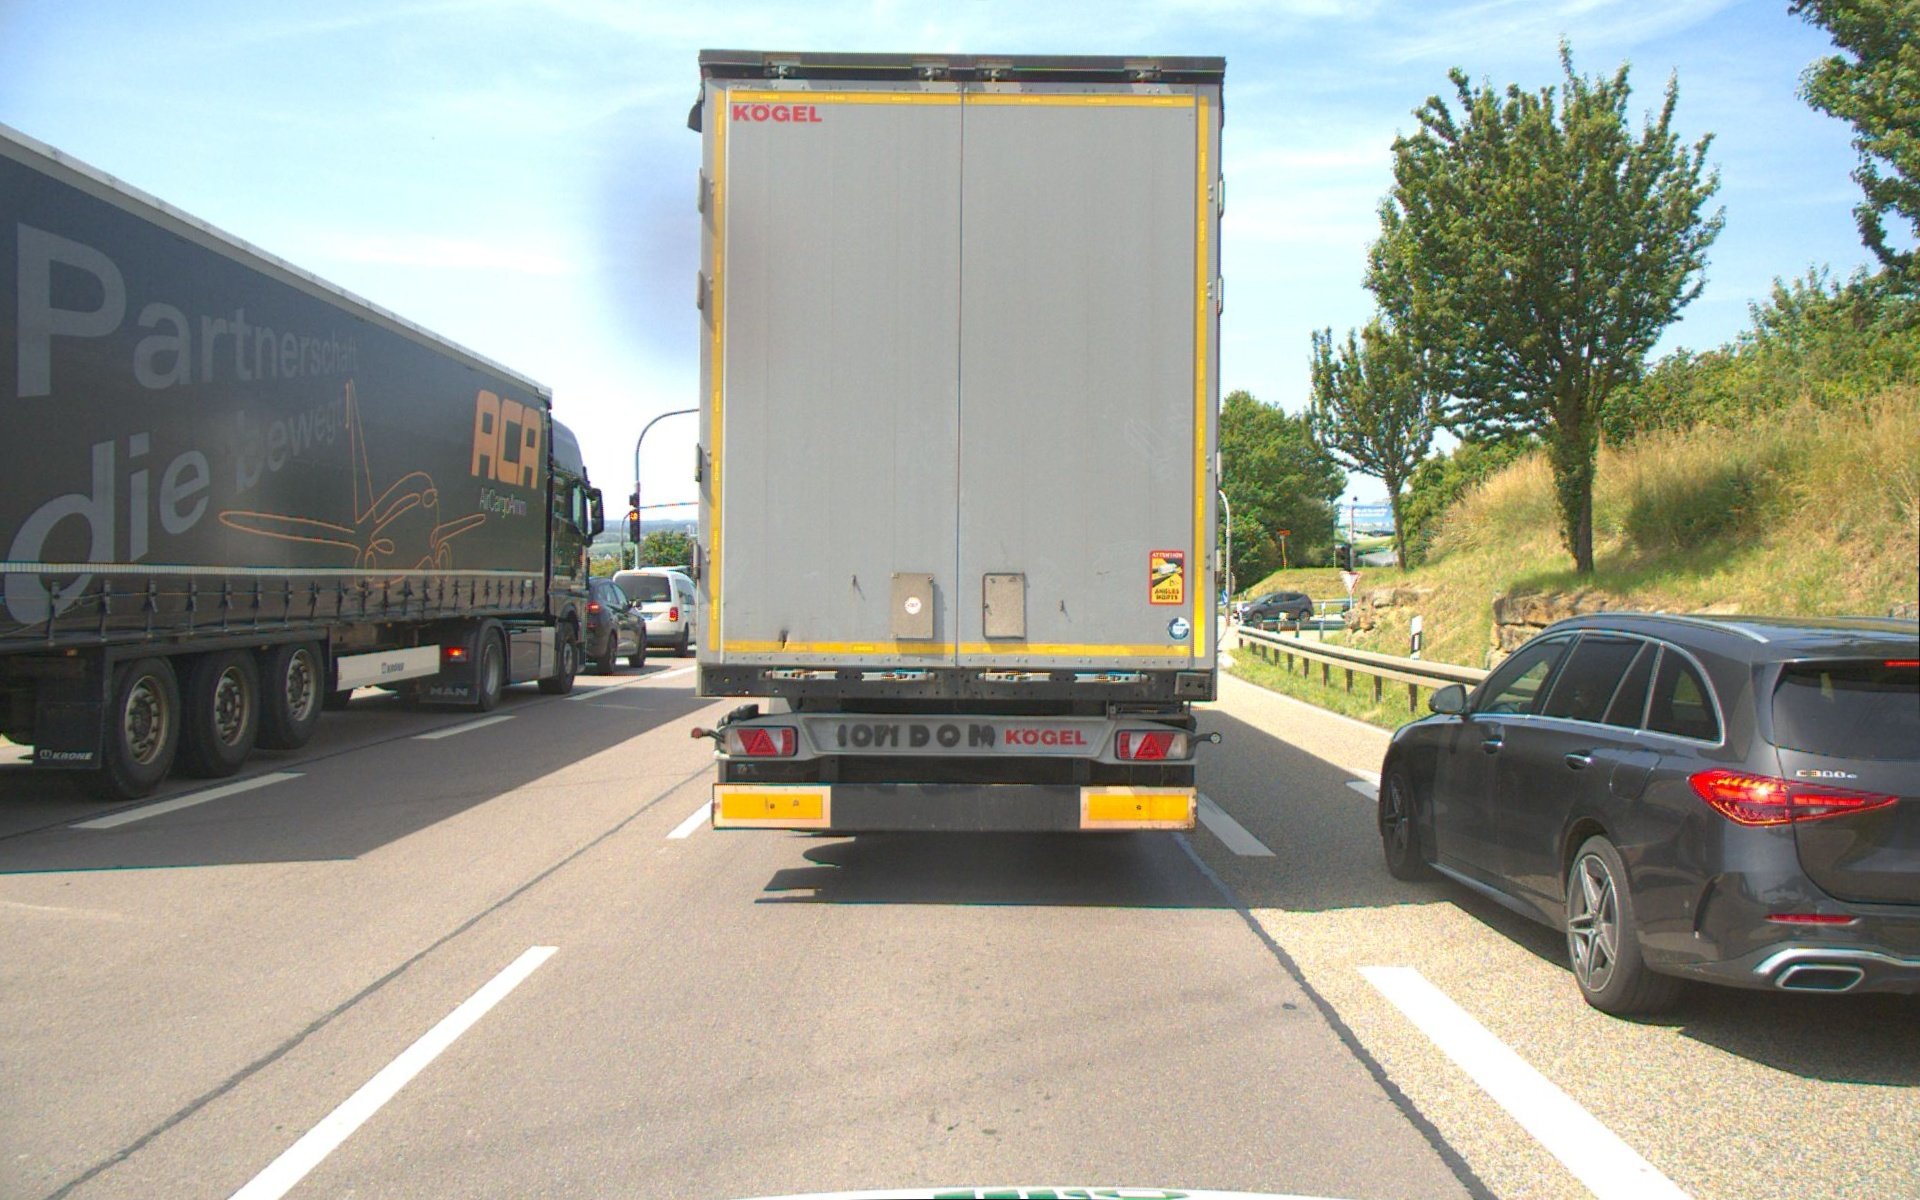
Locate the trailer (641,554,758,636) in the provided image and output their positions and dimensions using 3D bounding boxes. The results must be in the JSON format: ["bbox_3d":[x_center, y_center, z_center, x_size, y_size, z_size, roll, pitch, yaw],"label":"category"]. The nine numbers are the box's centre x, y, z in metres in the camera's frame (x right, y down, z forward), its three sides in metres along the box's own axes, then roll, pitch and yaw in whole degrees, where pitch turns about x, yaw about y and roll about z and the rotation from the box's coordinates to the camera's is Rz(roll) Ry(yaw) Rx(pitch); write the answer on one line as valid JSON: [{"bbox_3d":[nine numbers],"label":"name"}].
[{"bbox_3d":[-13.462,-0.200,87.612,2.584,3.829,19.802,0,0,1],"label":"trailer"}]

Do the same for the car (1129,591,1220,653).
[{"bbox_3d":[6.151,0.607,47.129,1.759,1.669,4.001,1,0,19],"label":"car"}]

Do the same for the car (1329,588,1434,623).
[{"bbox_3d":[19.002,0.258,74.563,4.279,1.537,1.712,0,0,-10],"label":"car"}]

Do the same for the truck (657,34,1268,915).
[{"bbox_3d":[-0.047,-0.563,13.276,2.742,3.998,11.339,1,0,-1],"label":"truck"}]

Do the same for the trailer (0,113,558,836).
[{"bbox_3d":[-6.659,-0.719,14.769,2.726,3.982,13.786,1,0,0],"label":"trailer"}]

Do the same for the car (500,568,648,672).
[{"bbox_3d":[-6.834,0.319,29.692,1.819,1.686,4.346,1,0,-3],"label":"car"}]

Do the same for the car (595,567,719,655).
[{"bbox_3d":[-6.791,0.222,37.563,1.731,1.830,4.753,1,0,2],"label":"car"}]

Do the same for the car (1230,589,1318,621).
[{"bbox_3d":[15.303,0.231,80.676,3.912,1.537,1.713,0,0,-8],"label":"car"}]

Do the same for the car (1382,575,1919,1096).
[{"bbox_3d":[3.251,0.729,7.143,1.710,1.559,4.298,1,0,-1],"label":"car"}]

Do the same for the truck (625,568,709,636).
[{"bbox_3d":[-13.767,0.111,78.171,2.741,3.066,5.990,0,0,1],"label":"truck"}]

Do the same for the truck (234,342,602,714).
[{"bbox_3d":[-6.679,-0.810,21.407,2.726,4.083,5.970,1,0,0],"label":"truck"}]
